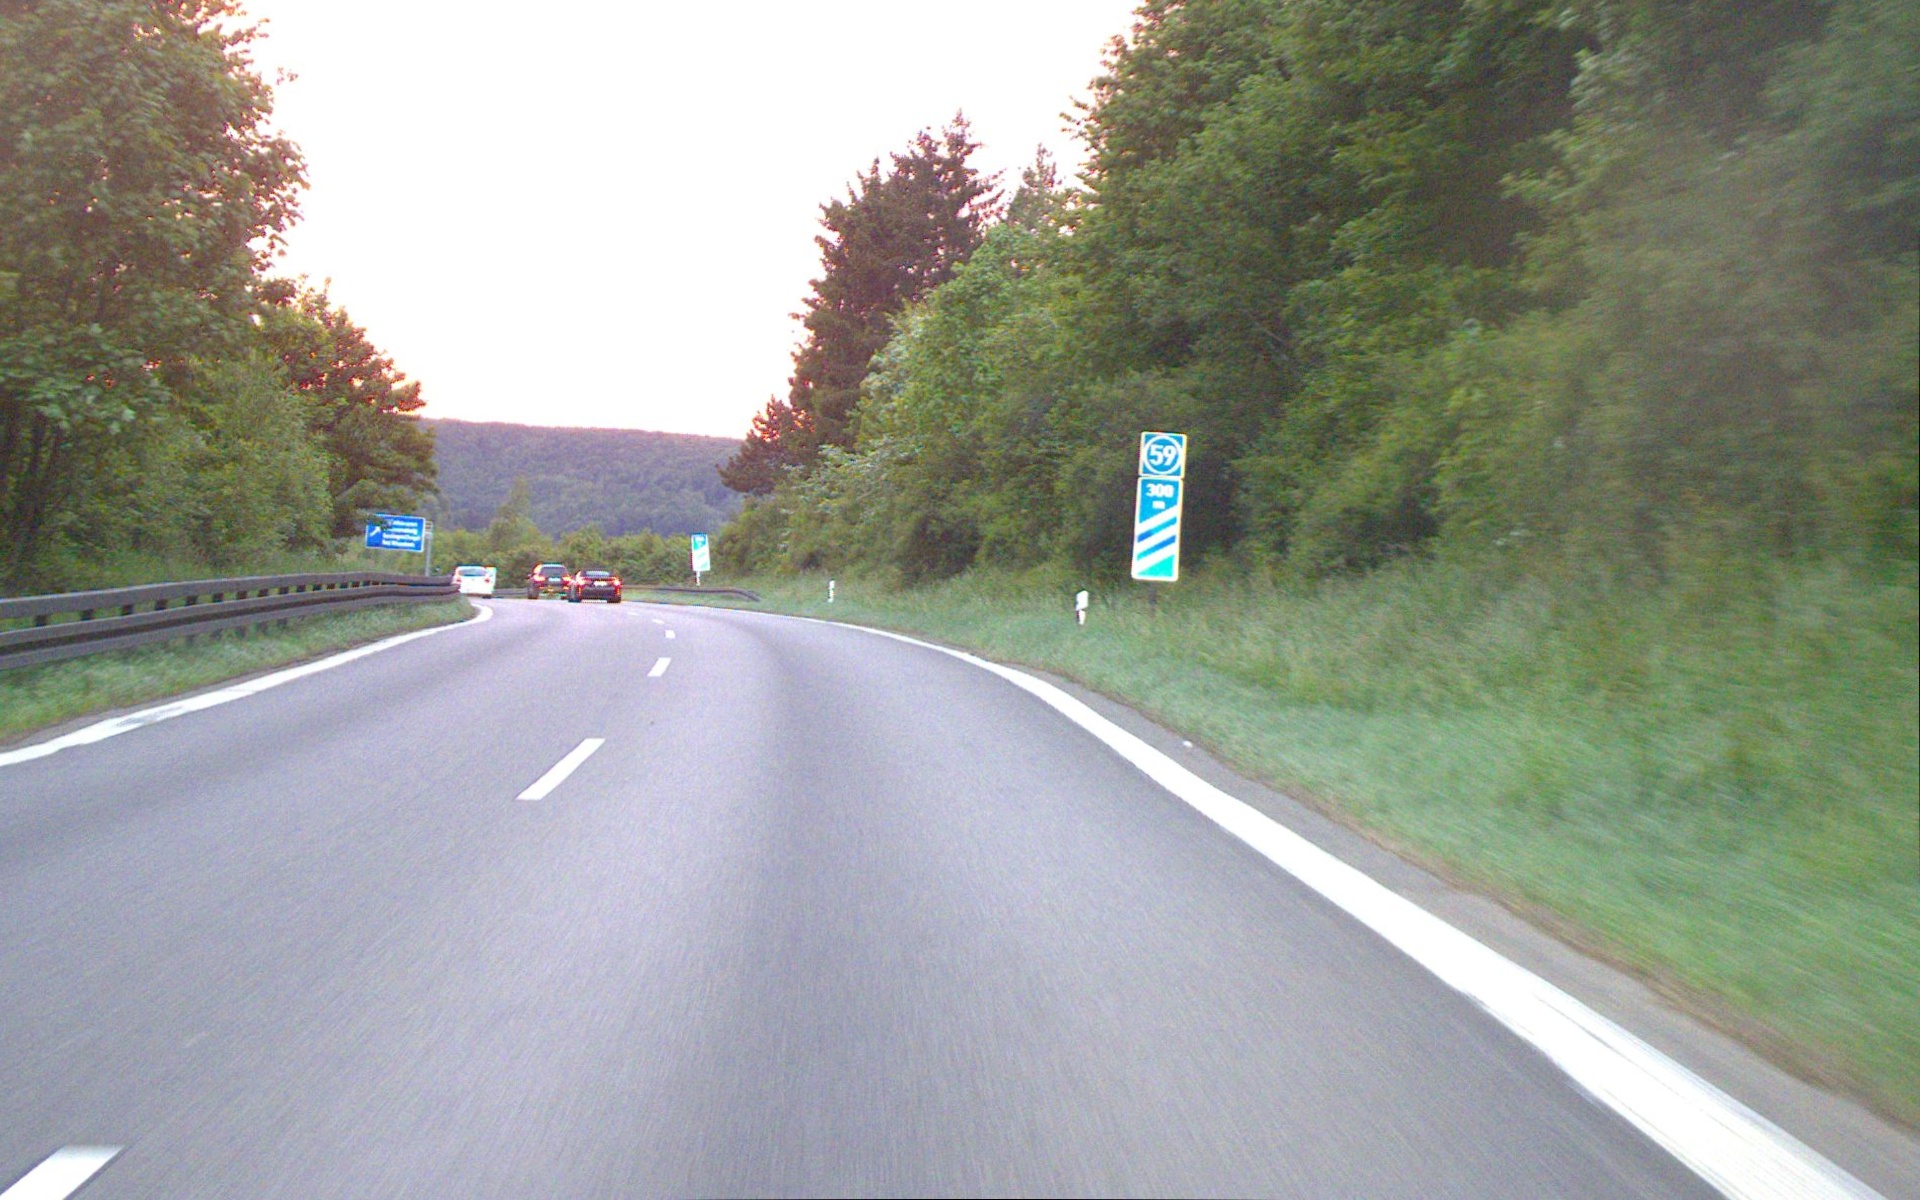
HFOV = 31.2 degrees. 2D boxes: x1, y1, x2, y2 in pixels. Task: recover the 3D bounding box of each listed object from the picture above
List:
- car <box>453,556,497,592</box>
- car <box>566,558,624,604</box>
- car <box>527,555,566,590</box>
[{"bbox_3d":[-22.161,-1.194,157.132,1.718,1.496,4.000,2,-1,-4],"label":"car"},{"bbox_3d":[-15.088,-0.776,141.990,1.993,1.640,4.001,4,-2,-10],"label":"car"},{"bbox_3d":[-19.616,-1.297,162.918,1.718,1.629,4.001,0,0,-8],"label":"car"}]
